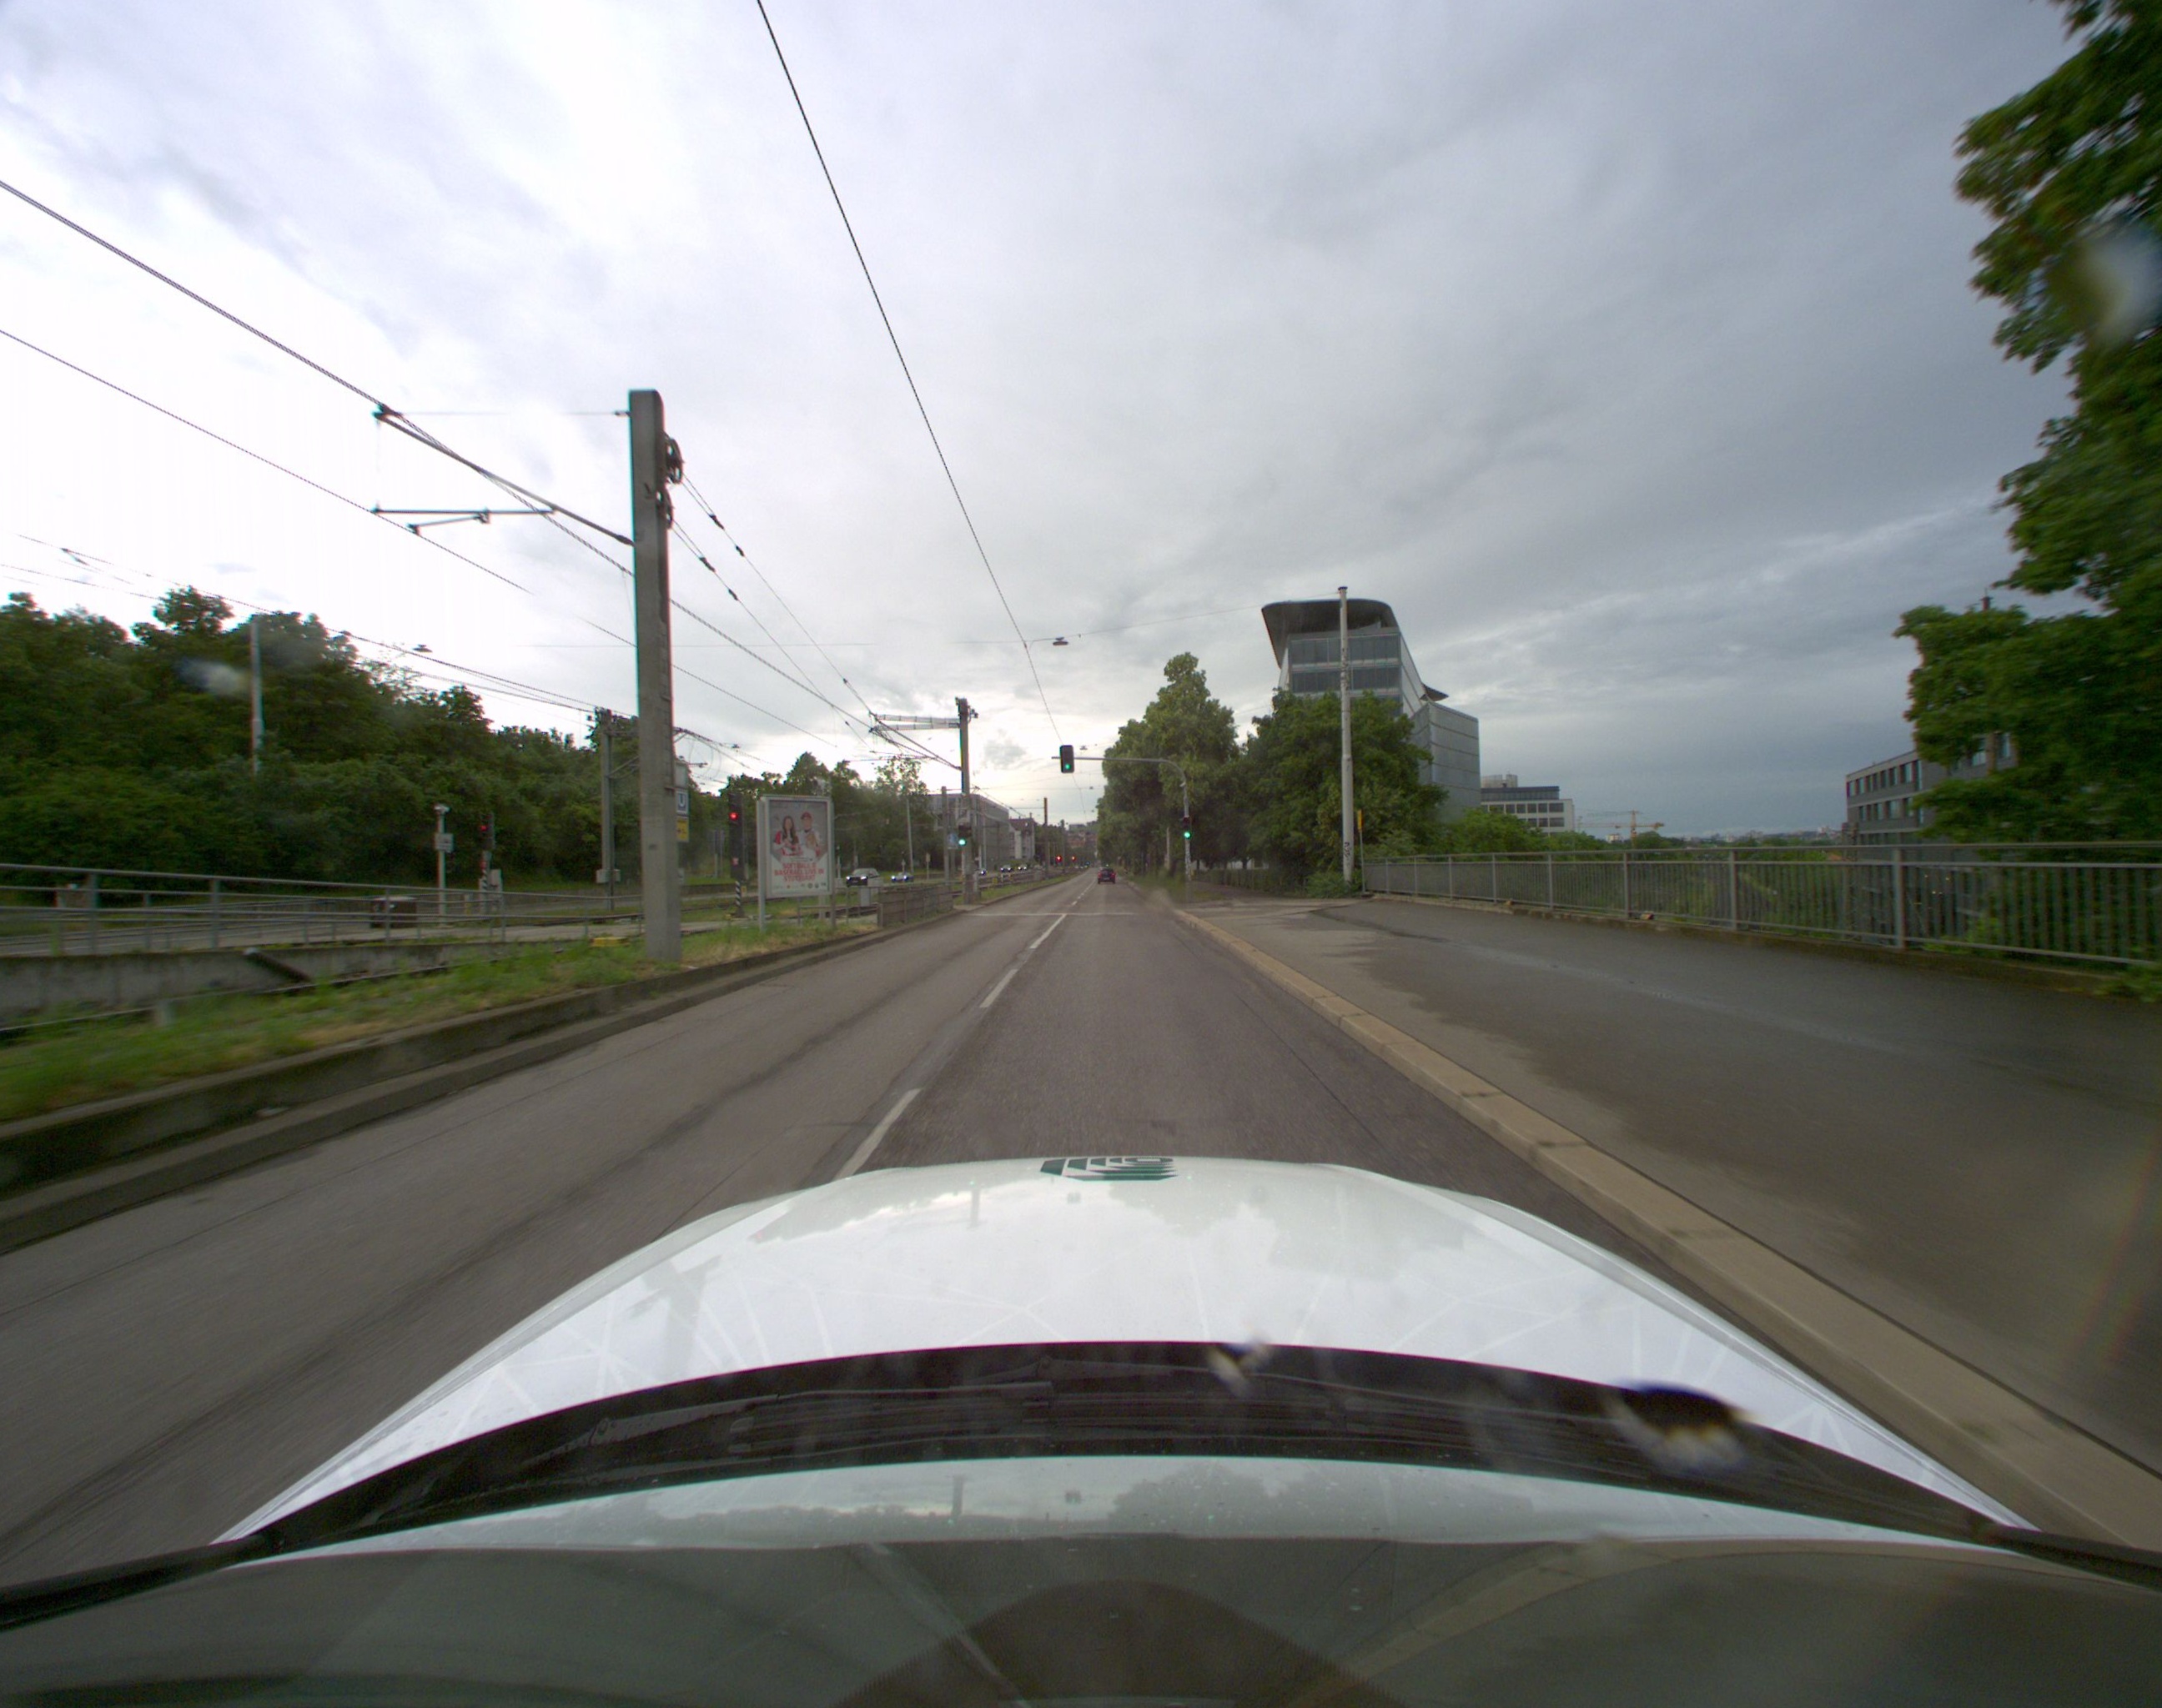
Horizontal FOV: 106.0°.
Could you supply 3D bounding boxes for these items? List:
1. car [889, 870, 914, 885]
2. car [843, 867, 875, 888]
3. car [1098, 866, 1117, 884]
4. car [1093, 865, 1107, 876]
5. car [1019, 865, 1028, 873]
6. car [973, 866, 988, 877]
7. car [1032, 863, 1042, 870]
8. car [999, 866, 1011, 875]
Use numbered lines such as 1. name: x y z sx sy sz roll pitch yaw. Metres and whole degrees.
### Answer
1. car: -21.623 2.818 98.257 1.840 1.631 3.819 1 2 6
2. car: -20.304 2.115 74.533 1.658 1.631 3.309 1 2 6
3. car: 2.464 1.977 77.099 1.720 1.540 4.001 0 0 1
4. car: 2.400 2.083 104.089 1.720 1.425 4.001 0 -1 1
5. car: -14.130 3.667 200.583 1.644 1.631 3.616 1 2 6
6. car: -17.831 3.083 144.330 1.840 1.631 3.616 1 2 6
7. car: -11.122 3.191 206.967 1.840 1.631 3.616 1 2 6
8. car: -16.175 3.469 173.937 1.840 1.631 3.616 1 2 6
